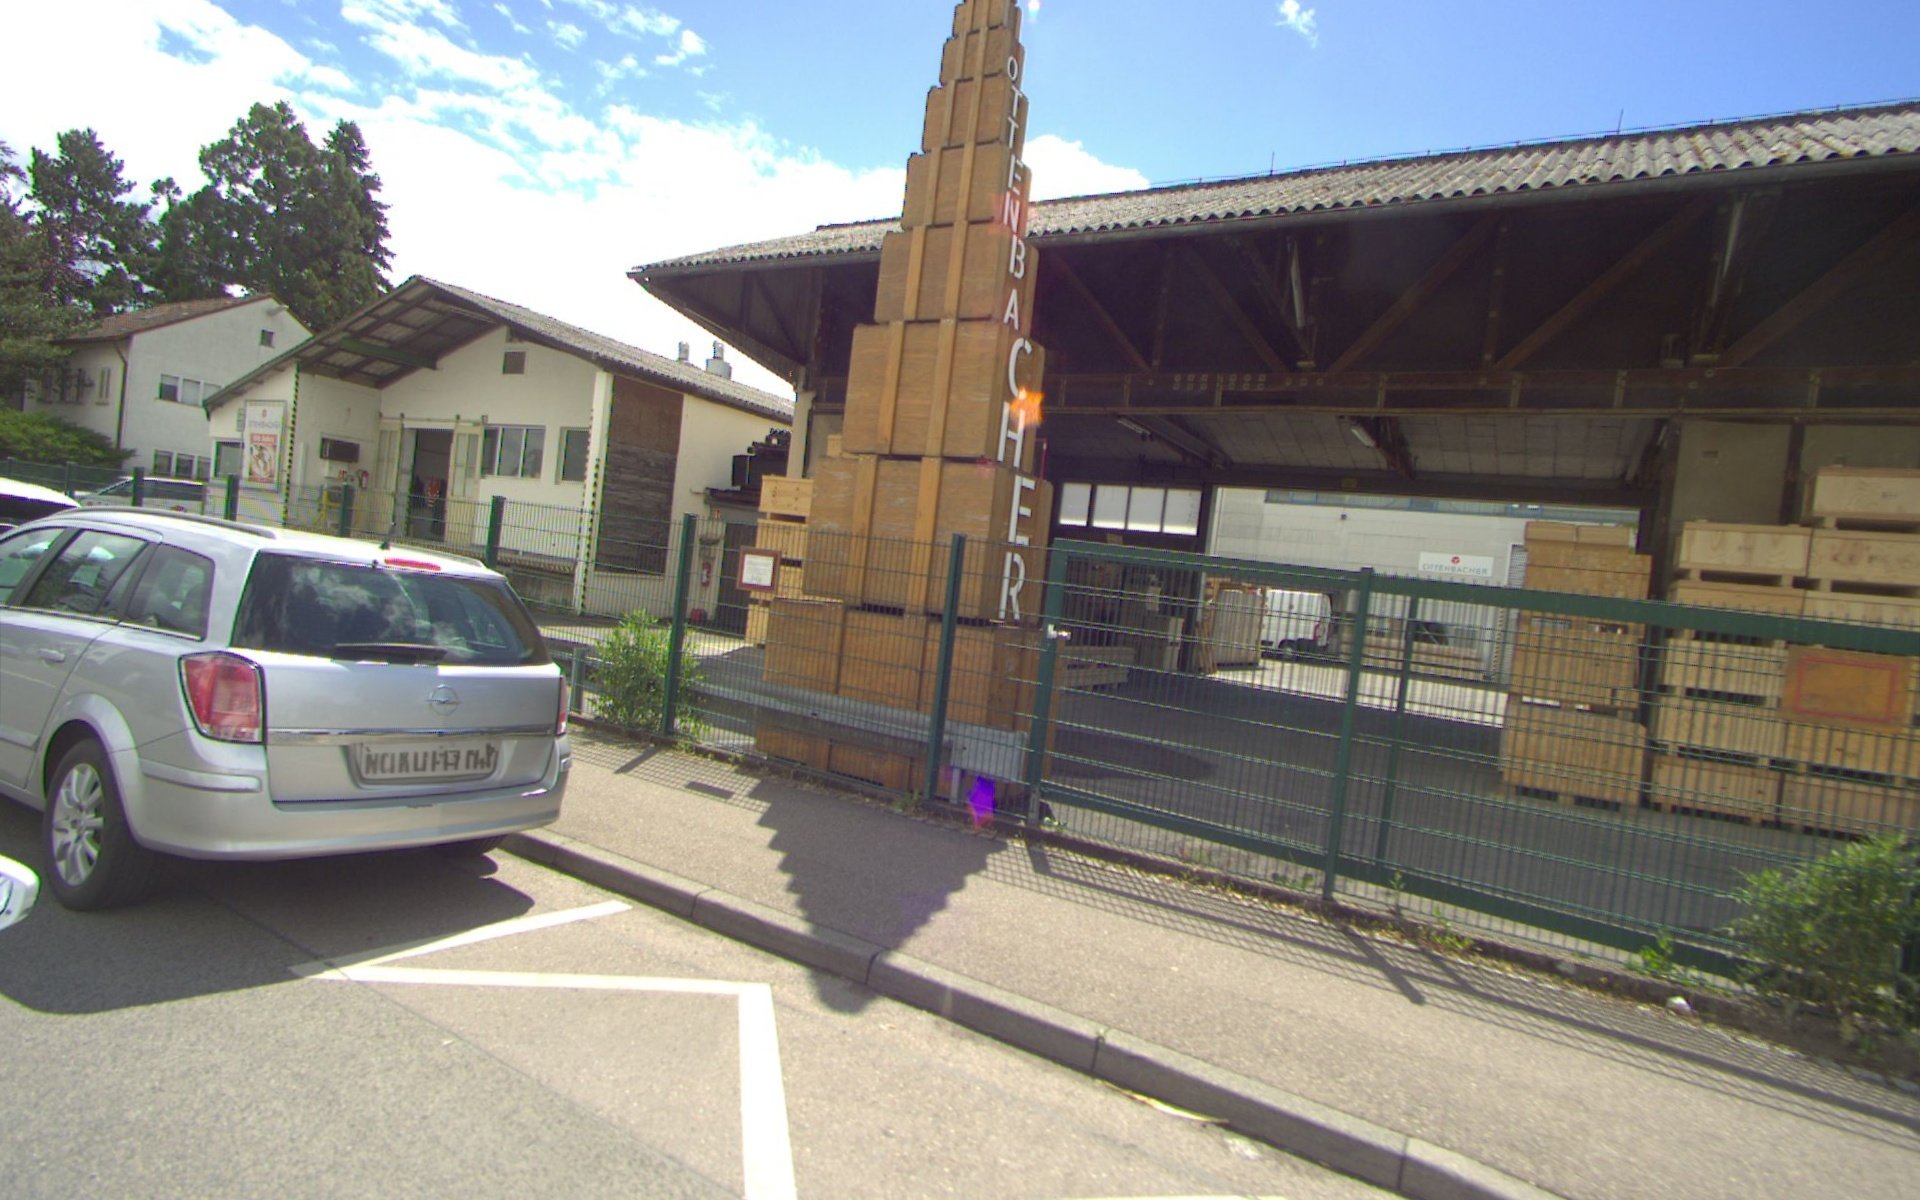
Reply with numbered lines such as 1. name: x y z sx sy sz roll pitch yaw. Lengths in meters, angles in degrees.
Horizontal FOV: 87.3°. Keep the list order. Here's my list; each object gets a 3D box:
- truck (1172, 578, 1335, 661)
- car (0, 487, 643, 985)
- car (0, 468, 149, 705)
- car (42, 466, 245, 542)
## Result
1. truck: 10.921 0.710 37.554 5.289 2.371 1.997 7 -1 32
2. car: -3.806 0.289 4.994 4.290 1.469 1.793 7 2 31
3. car: -8.307 -0.317 7.701 4.497 1.572 1.793 7 2 31
4. car: -27.924 -3.235 34.580 1.968 1.955 5.014 7 2 34
